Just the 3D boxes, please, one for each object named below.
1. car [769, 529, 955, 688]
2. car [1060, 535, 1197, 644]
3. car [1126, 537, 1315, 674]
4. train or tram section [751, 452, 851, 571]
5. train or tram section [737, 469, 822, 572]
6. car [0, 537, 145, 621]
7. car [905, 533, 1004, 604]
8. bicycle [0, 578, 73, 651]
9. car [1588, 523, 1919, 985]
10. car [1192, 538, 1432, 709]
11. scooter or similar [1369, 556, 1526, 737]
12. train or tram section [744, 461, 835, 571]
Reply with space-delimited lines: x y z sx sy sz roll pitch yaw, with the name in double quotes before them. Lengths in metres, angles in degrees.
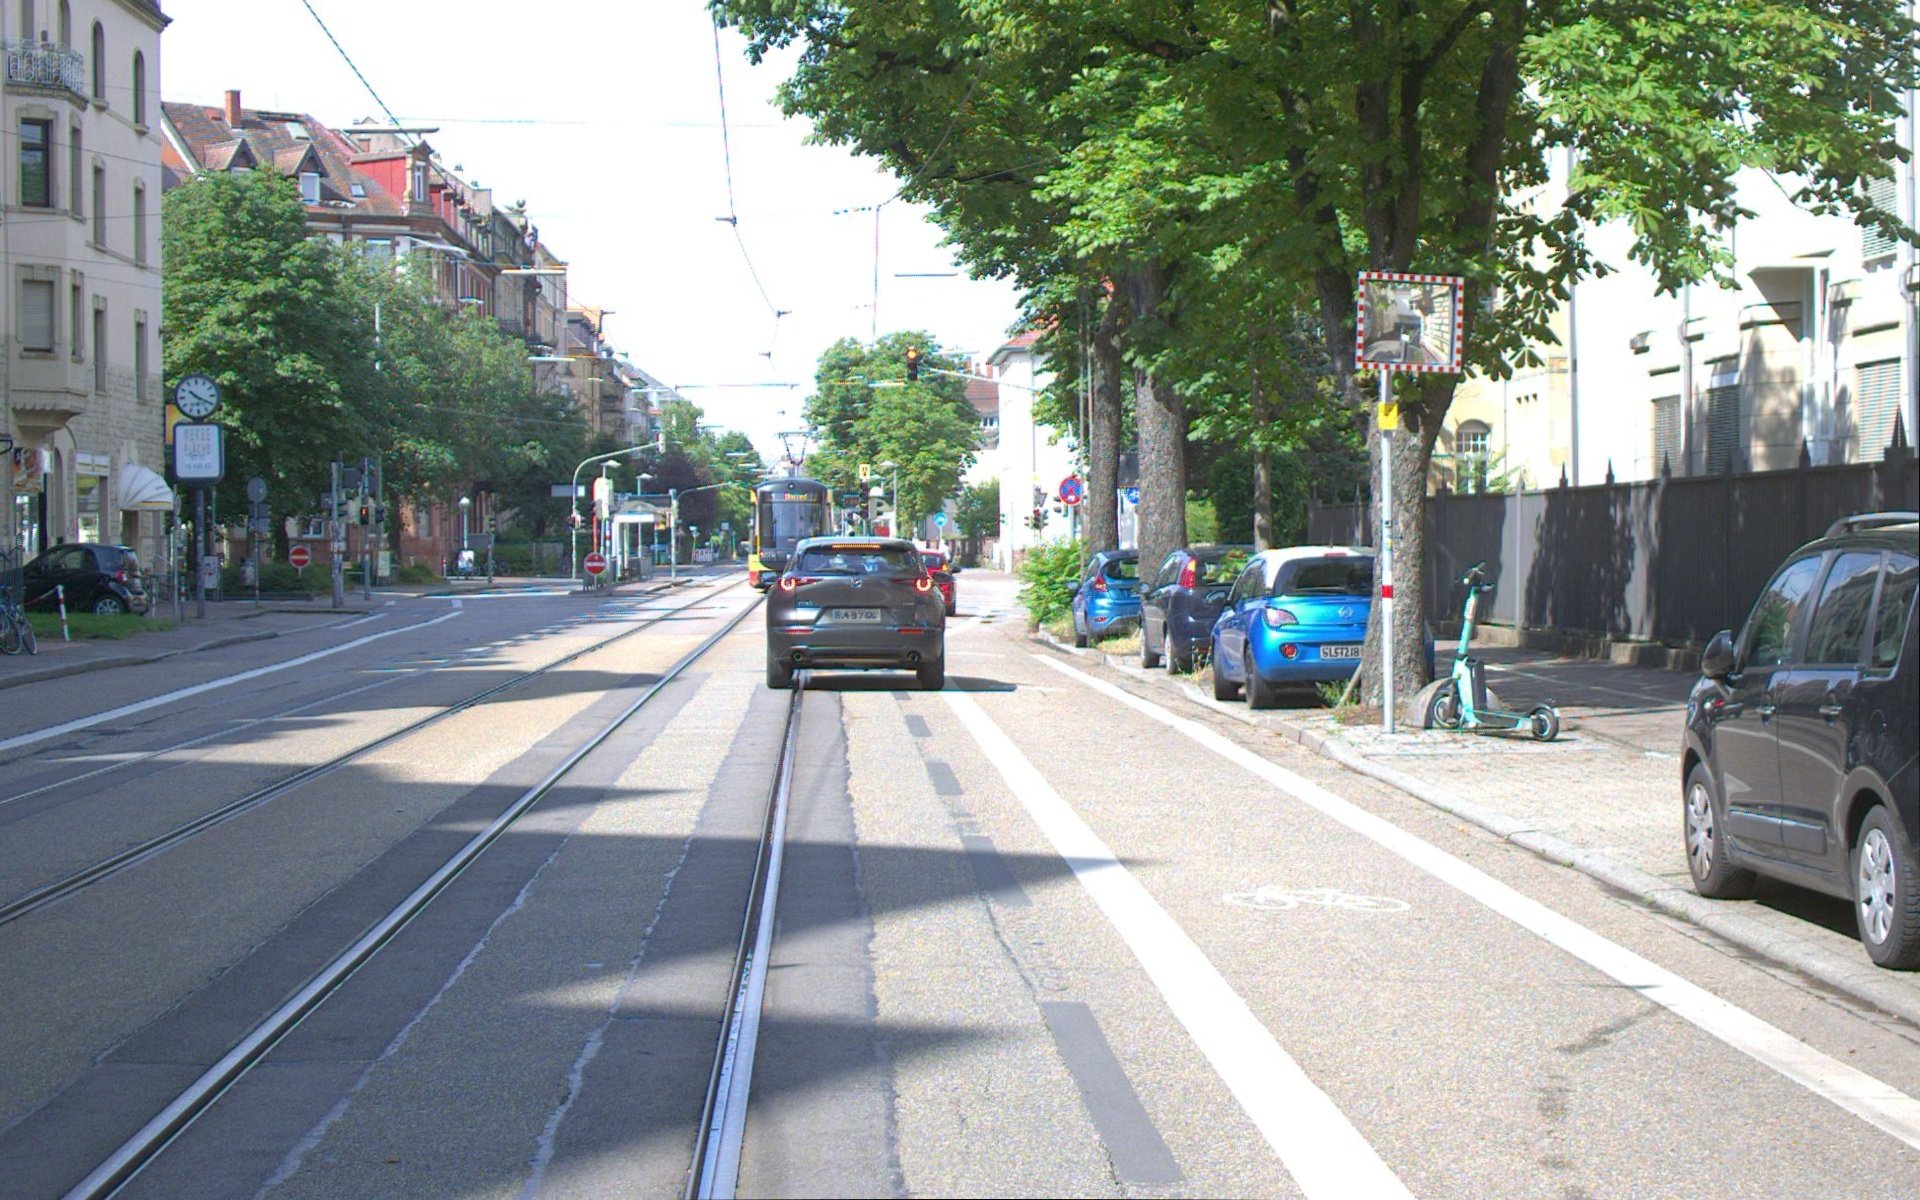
"car" -1.076 0.043 35.849 1.789 1.507 4.351 1 1 -3
"car" 2.451 -0.178 50.848 1.624 1.491 3.848 -2 1 -2
"car" 3.023 0.031 40.592 1.639 1.491 3.758 -2 1 -4
"train or tram section" -5.003 -2.680 106.990 2.651 3.515 8.498 -1 1 -5
"train or tram section" -6.555 -2.812 123.927 2.651 3.515 8.498 -1 1 -5
"car" -17.103 -0.411 64.373 3.236 1.508 1.679 1 1 1
"car" -0.164 -0.721 76.127 1.784 1.487 4.884 -1 1 -5
"bicycle" -12.724 0.203 47.098 0.511 0.956 1.815 3 -1 5
"car" 3.922 0.479 13.962 1.696 1.585 4.203 -2 1 -3
"car" 3.281 0.179 32.675 1.639 1.491 3.627 -2 1 -4
"scooter or similar" 3.645 0.333 25.760 0.441 1.295 1.182 -5 3 -33
"train or tram section" -5.783 -2.744 115.478 2.651 3.515 8.498 -1 1 -5
